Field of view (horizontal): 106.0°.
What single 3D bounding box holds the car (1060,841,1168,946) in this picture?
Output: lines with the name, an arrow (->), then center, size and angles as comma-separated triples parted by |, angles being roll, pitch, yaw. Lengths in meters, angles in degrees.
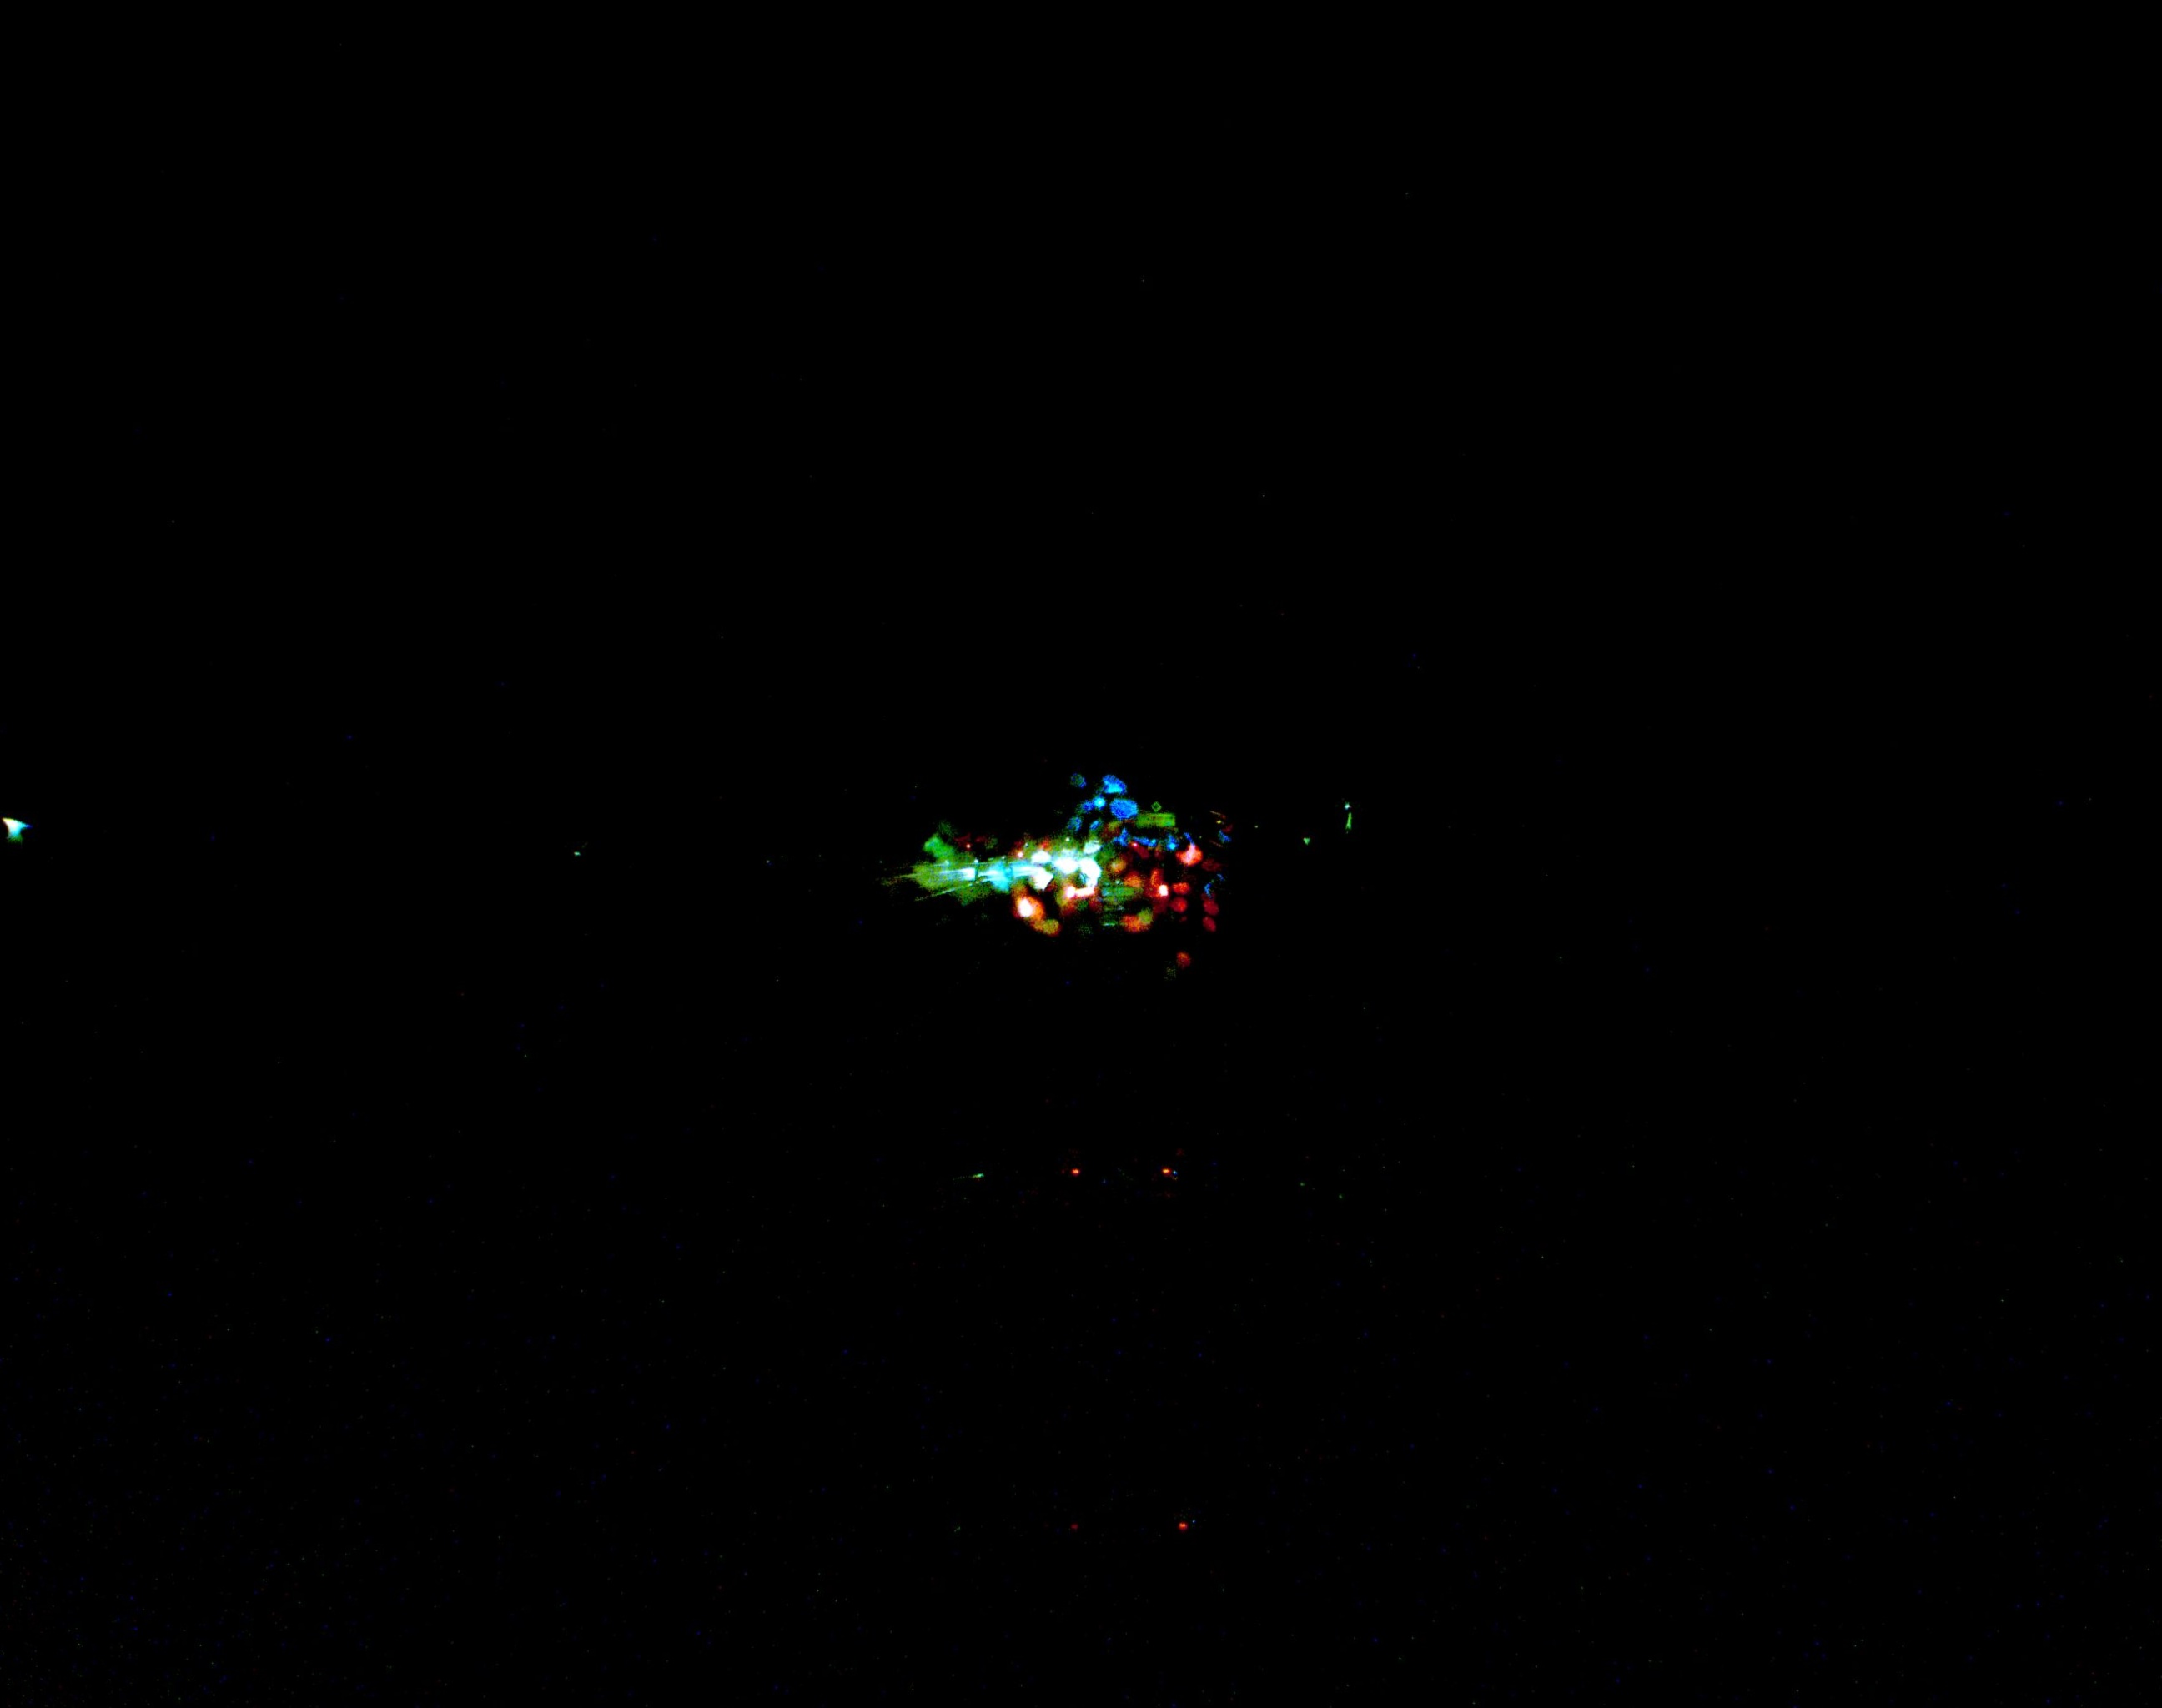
car -> 0.571, 0.666, 15.427 | 1.769, 1.712, 4.000 | -1, 0, 1

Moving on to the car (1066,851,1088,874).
car -> -0.402, 0.841, 79.474 | 1.989, 2.014, 3.995 | -2, -3, -3
